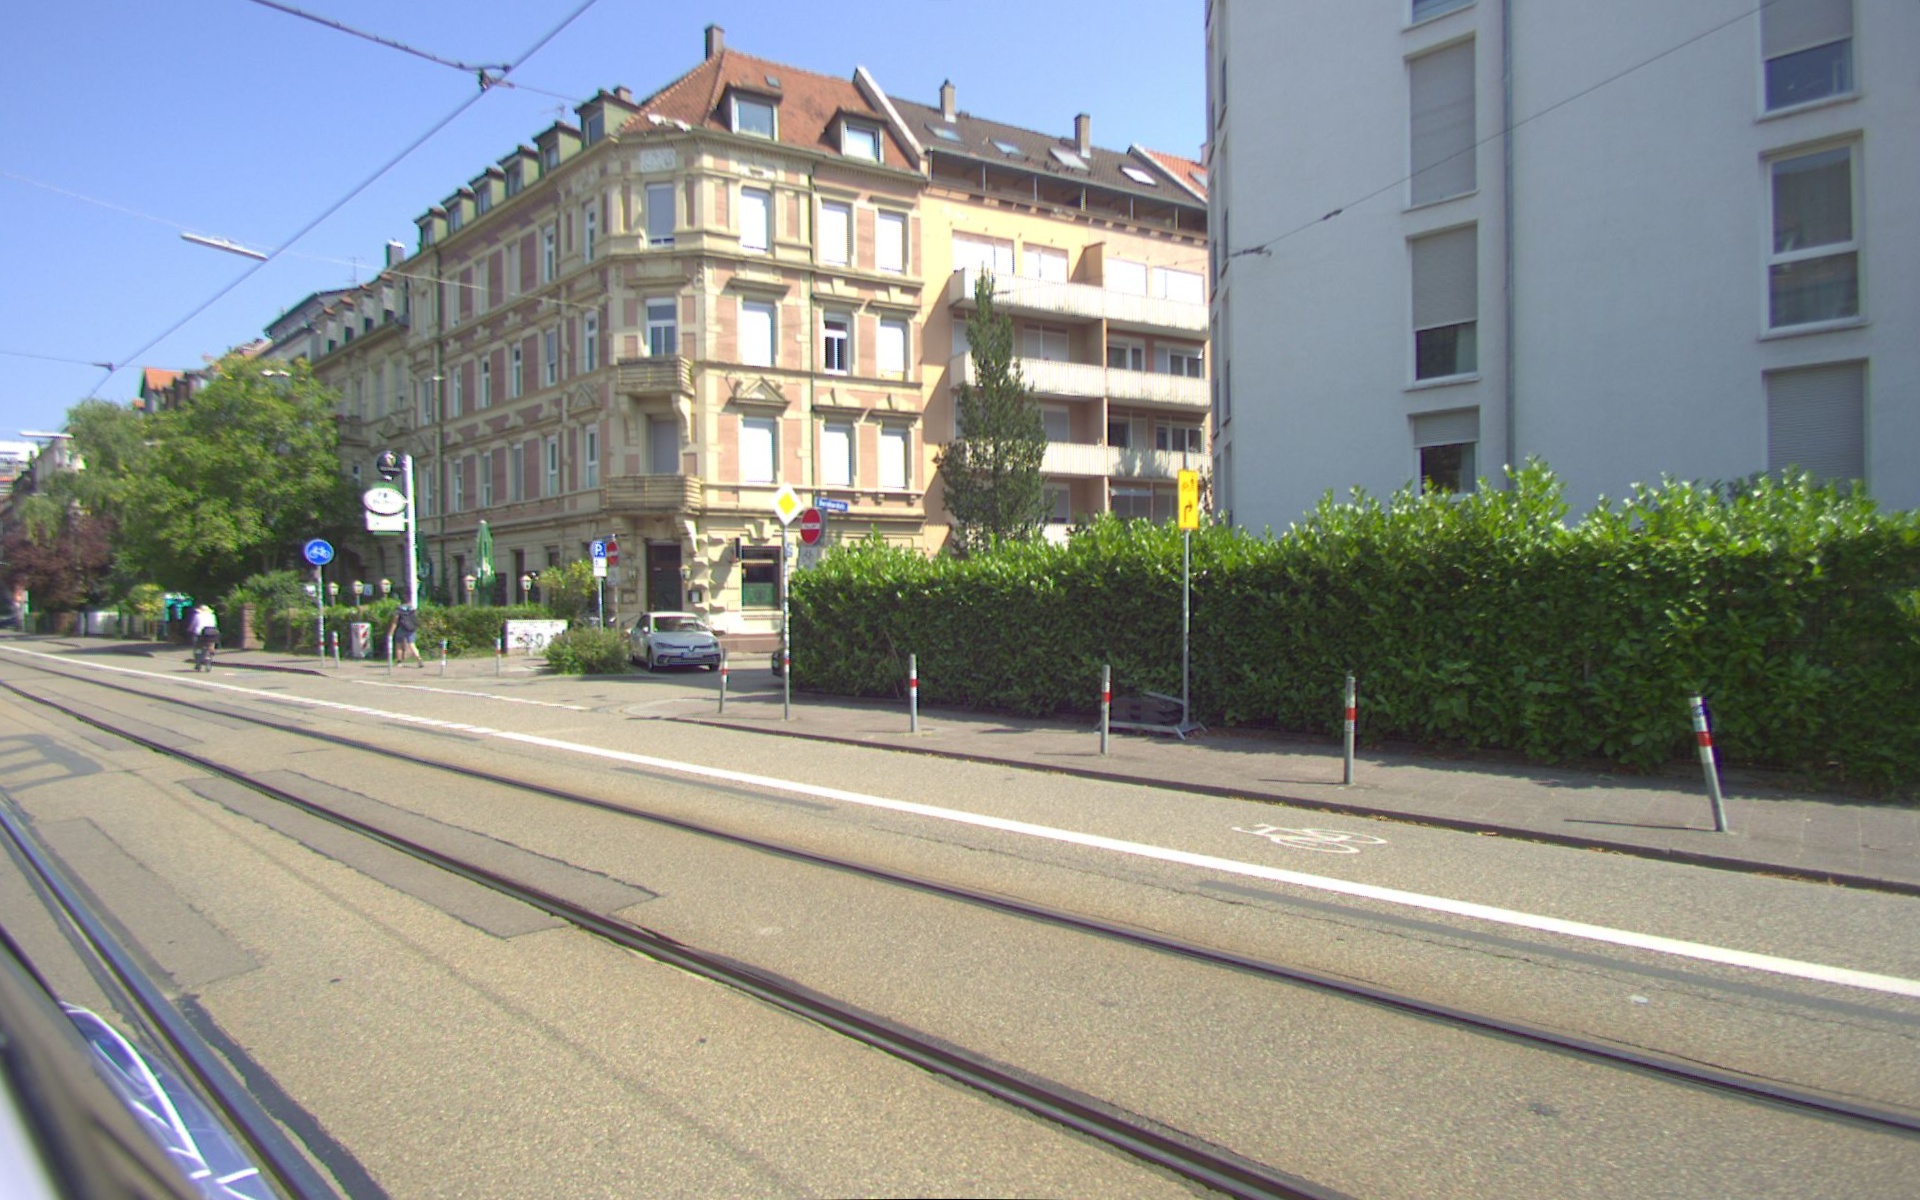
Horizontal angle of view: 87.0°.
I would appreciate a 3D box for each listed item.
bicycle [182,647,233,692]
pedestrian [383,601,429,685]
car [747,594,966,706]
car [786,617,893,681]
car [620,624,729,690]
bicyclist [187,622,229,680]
[{"bbox_3d":[-19.358,1.768,26.029,1.914,1.085,0.634,-2,-2,40],"label":"bicycle"},{"bbox_3d":[-13.710,1.059,25.055,0.972,2.029,0.649,-2,-2,36],"label":"pedestrian"},{"bbox_3d":[-2.083,0.930,20.409,3.931,2.003,1.897,-1,0,-27],"label":"car"},{"bbox_3d":[-3.410,1.294,27.983,1.709,1.586,3.752,-1,0,-27],"label":"car"},{"bbox_3d":[-7.398,1.388,25.962,1.965,1.500,4.158,0,-1,-26],"label":"car"},{"bbox_3d":[-19.290,1.301,25.952,0.973,1.439,0.649,-2,-2,40],"label":"bicyclist"}]
